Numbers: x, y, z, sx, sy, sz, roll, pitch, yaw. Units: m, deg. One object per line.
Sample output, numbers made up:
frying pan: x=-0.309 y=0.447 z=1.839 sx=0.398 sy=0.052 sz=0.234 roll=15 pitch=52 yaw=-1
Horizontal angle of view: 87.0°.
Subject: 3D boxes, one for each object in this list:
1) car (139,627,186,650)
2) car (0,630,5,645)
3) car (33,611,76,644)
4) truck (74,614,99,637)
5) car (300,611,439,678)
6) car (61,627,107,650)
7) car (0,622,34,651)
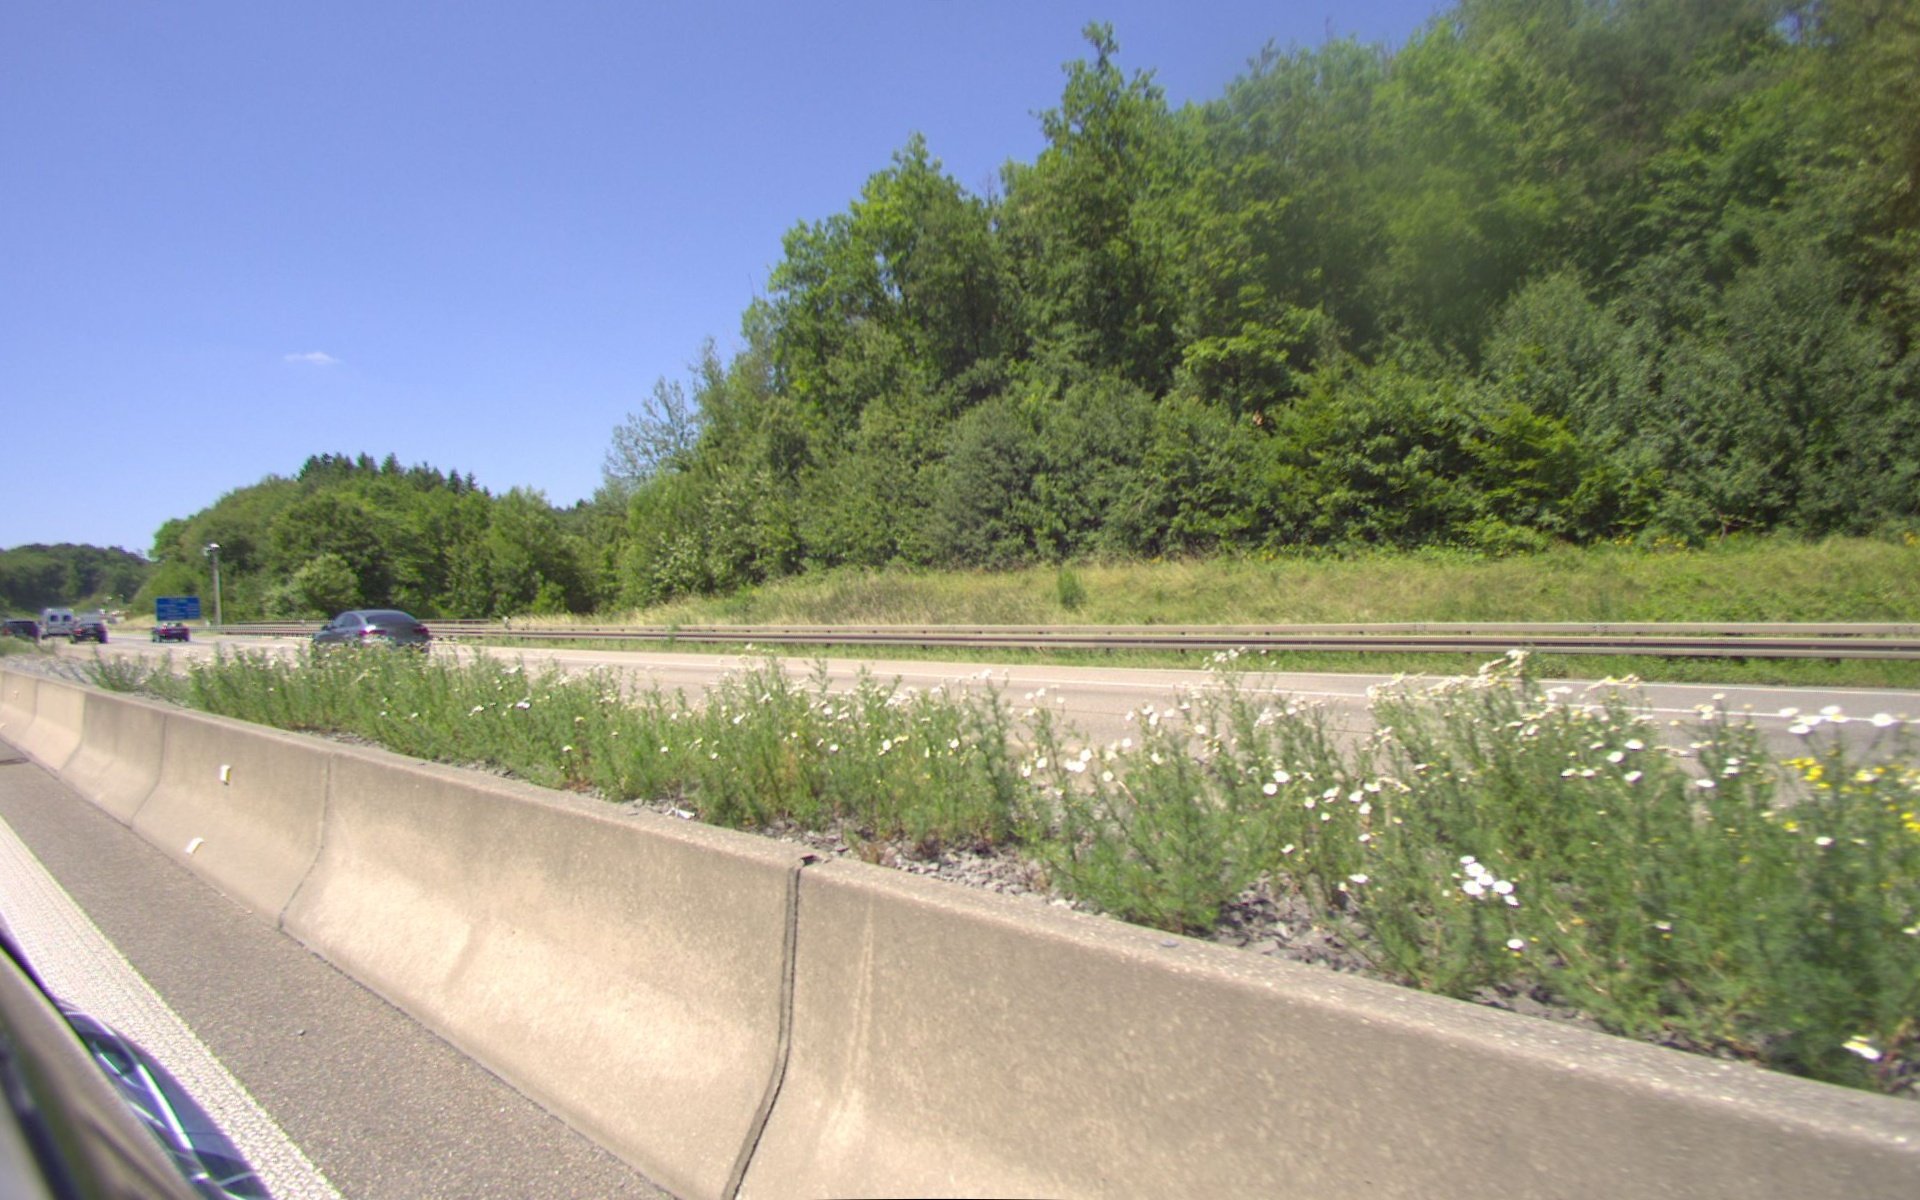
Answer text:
car: x=-52.873 y=2.548 z=67.060 sx=3.999 sy=1.464 sz=1.820 roll=-2 pitch=-1 yaw=42
car: x=-89.927 y=3.492 z=93.695 sx=4.411 sy=1.421 sz=1.855 roll=-2 pitch=-1 yaw=43
car: x=-78.339 y=2.401 z=87.489 sx=6.062 sy=2.722 sz=2.192 roll=-2 pitch=-1 yaw=43
truck: x=-140.975 y=4.134 z=163.275 sx=2.703 sy=3.501 sz=7.320 roll=0 pitch=-1 yaw=-44
car: x=-16.208 y=1.170 z=27.695 sx=4.472 sy=1.640 sz=1.973 roll=-2 pitch=-1 yaw=42
car: x=-58.163 y=2.546 z=67.164 sx=4.270 sy=1.412 sz=1.794 roll=-2 pitch=-1 yaw=42
car: x=-61.202 y=2.352 z=65.120 sx=4.355 sy=1.737 sz=1.972 roll=-2 pitch=-1 yaw=42
